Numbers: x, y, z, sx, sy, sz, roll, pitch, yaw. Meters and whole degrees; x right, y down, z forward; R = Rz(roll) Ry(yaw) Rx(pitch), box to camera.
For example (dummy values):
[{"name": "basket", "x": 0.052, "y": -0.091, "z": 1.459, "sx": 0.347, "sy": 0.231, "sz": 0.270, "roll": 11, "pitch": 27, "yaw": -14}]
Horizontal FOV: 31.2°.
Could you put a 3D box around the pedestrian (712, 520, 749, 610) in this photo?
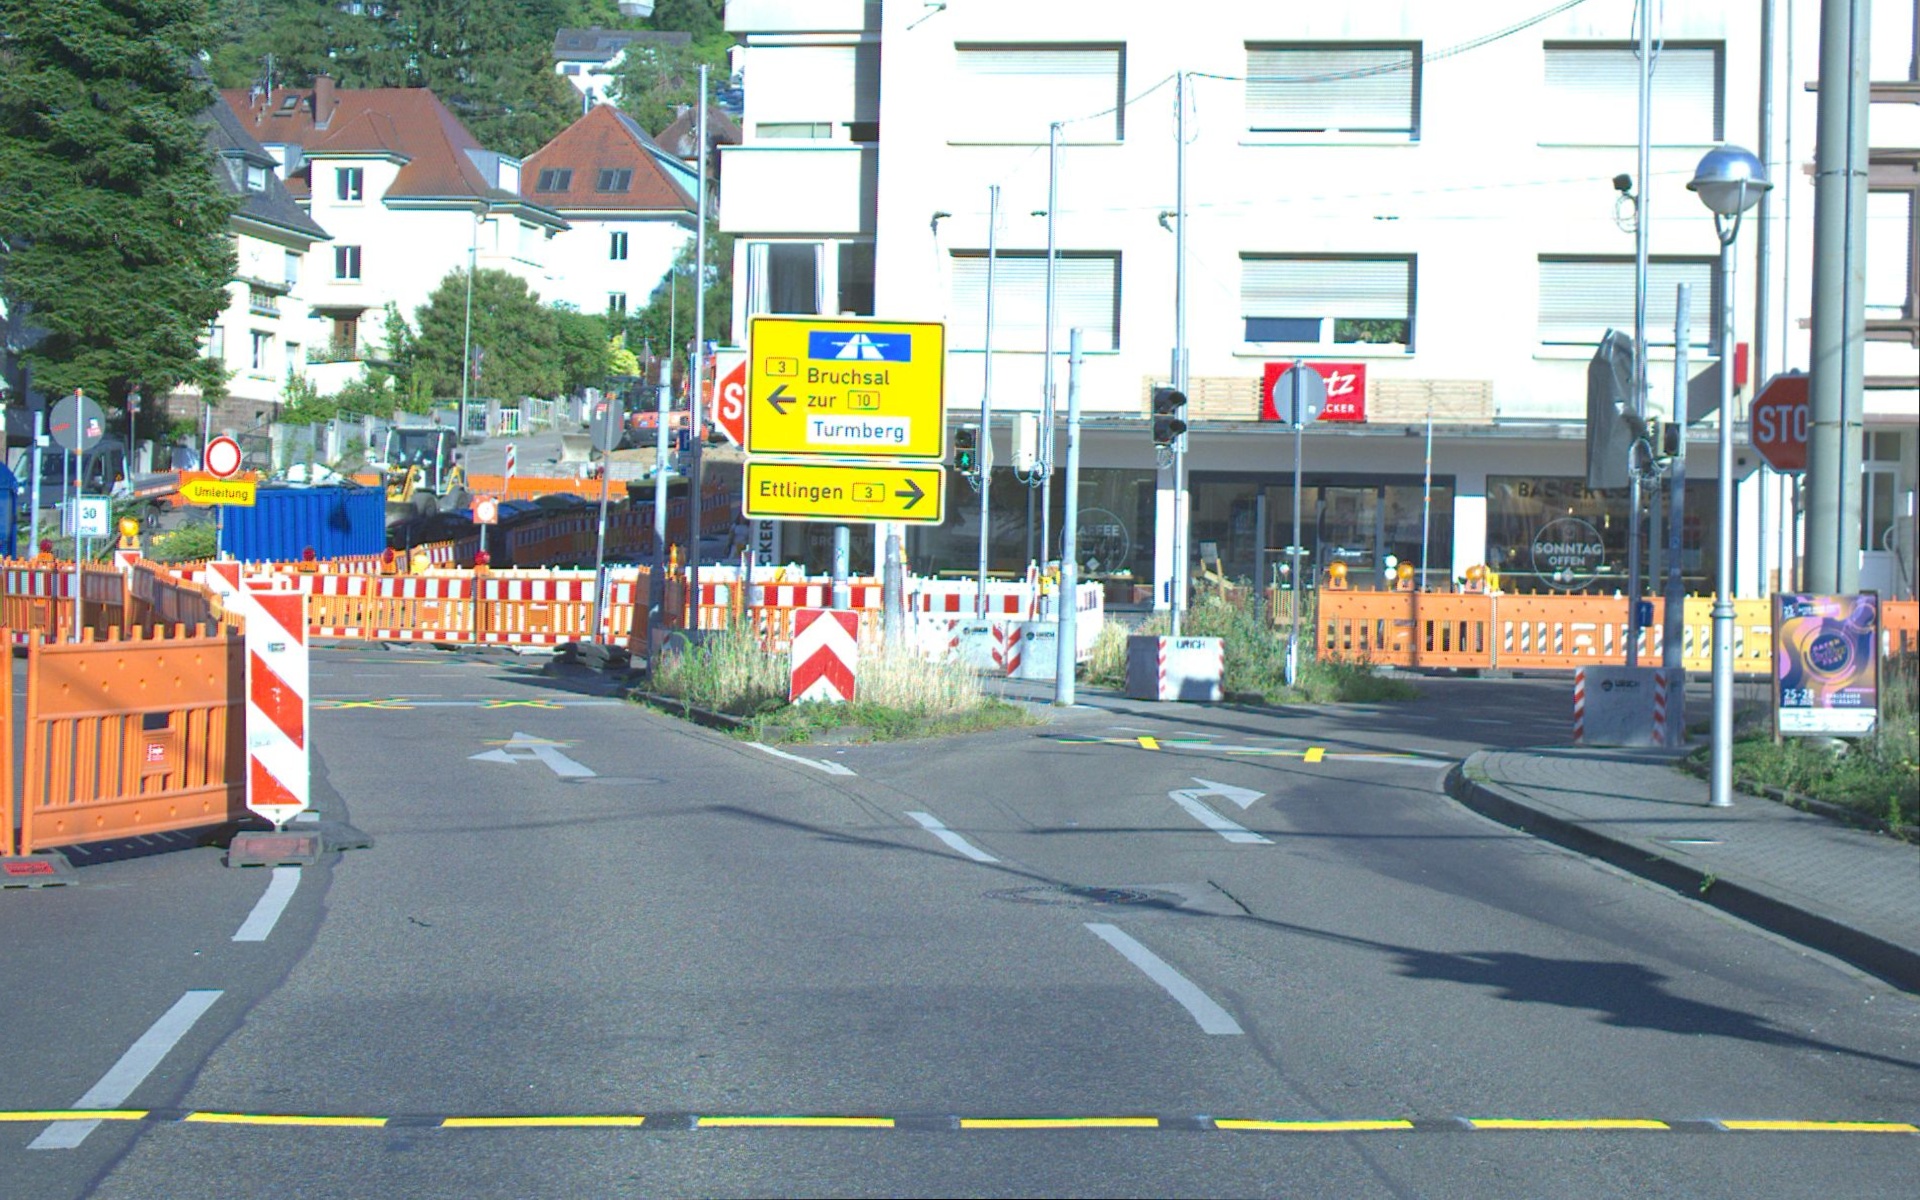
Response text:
[{"name": "pedestrian", "x": -4.522, "y": -0.694, "z": 67.821, "sx": 0.640, "sy": 1.754, "sz": 0.718, "roll": 1, "pitch": 1, "yaw": -1}]

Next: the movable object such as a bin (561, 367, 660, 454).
[{"name": "movable object such as a bin", "x": -11.530, "y": -6.245, "z": 113.732, "sx": 2.191, "sy": 2.681, "sz": 3.998, "roll": 1, "pitch": 1, "yaw": 10}]

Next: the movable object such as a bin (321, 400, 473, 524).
[{"name": "movable object such as a bin", "x": -12.930, "y": -3.149, "z": 79.179, "sx": 2.191, "sy": 2.681, "sz": 3.998, "roll": 1, "pitch": 1, "yaw": 10}]

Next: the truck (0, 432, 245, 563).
[{"name": "truck", "x": -17.210, "y": -1.980, "z": 68.640, "sx": 2.357, "sy": 2.407, "sz": 9.147, "roll": 1, "pitch": 1, "yaw": 11}]
